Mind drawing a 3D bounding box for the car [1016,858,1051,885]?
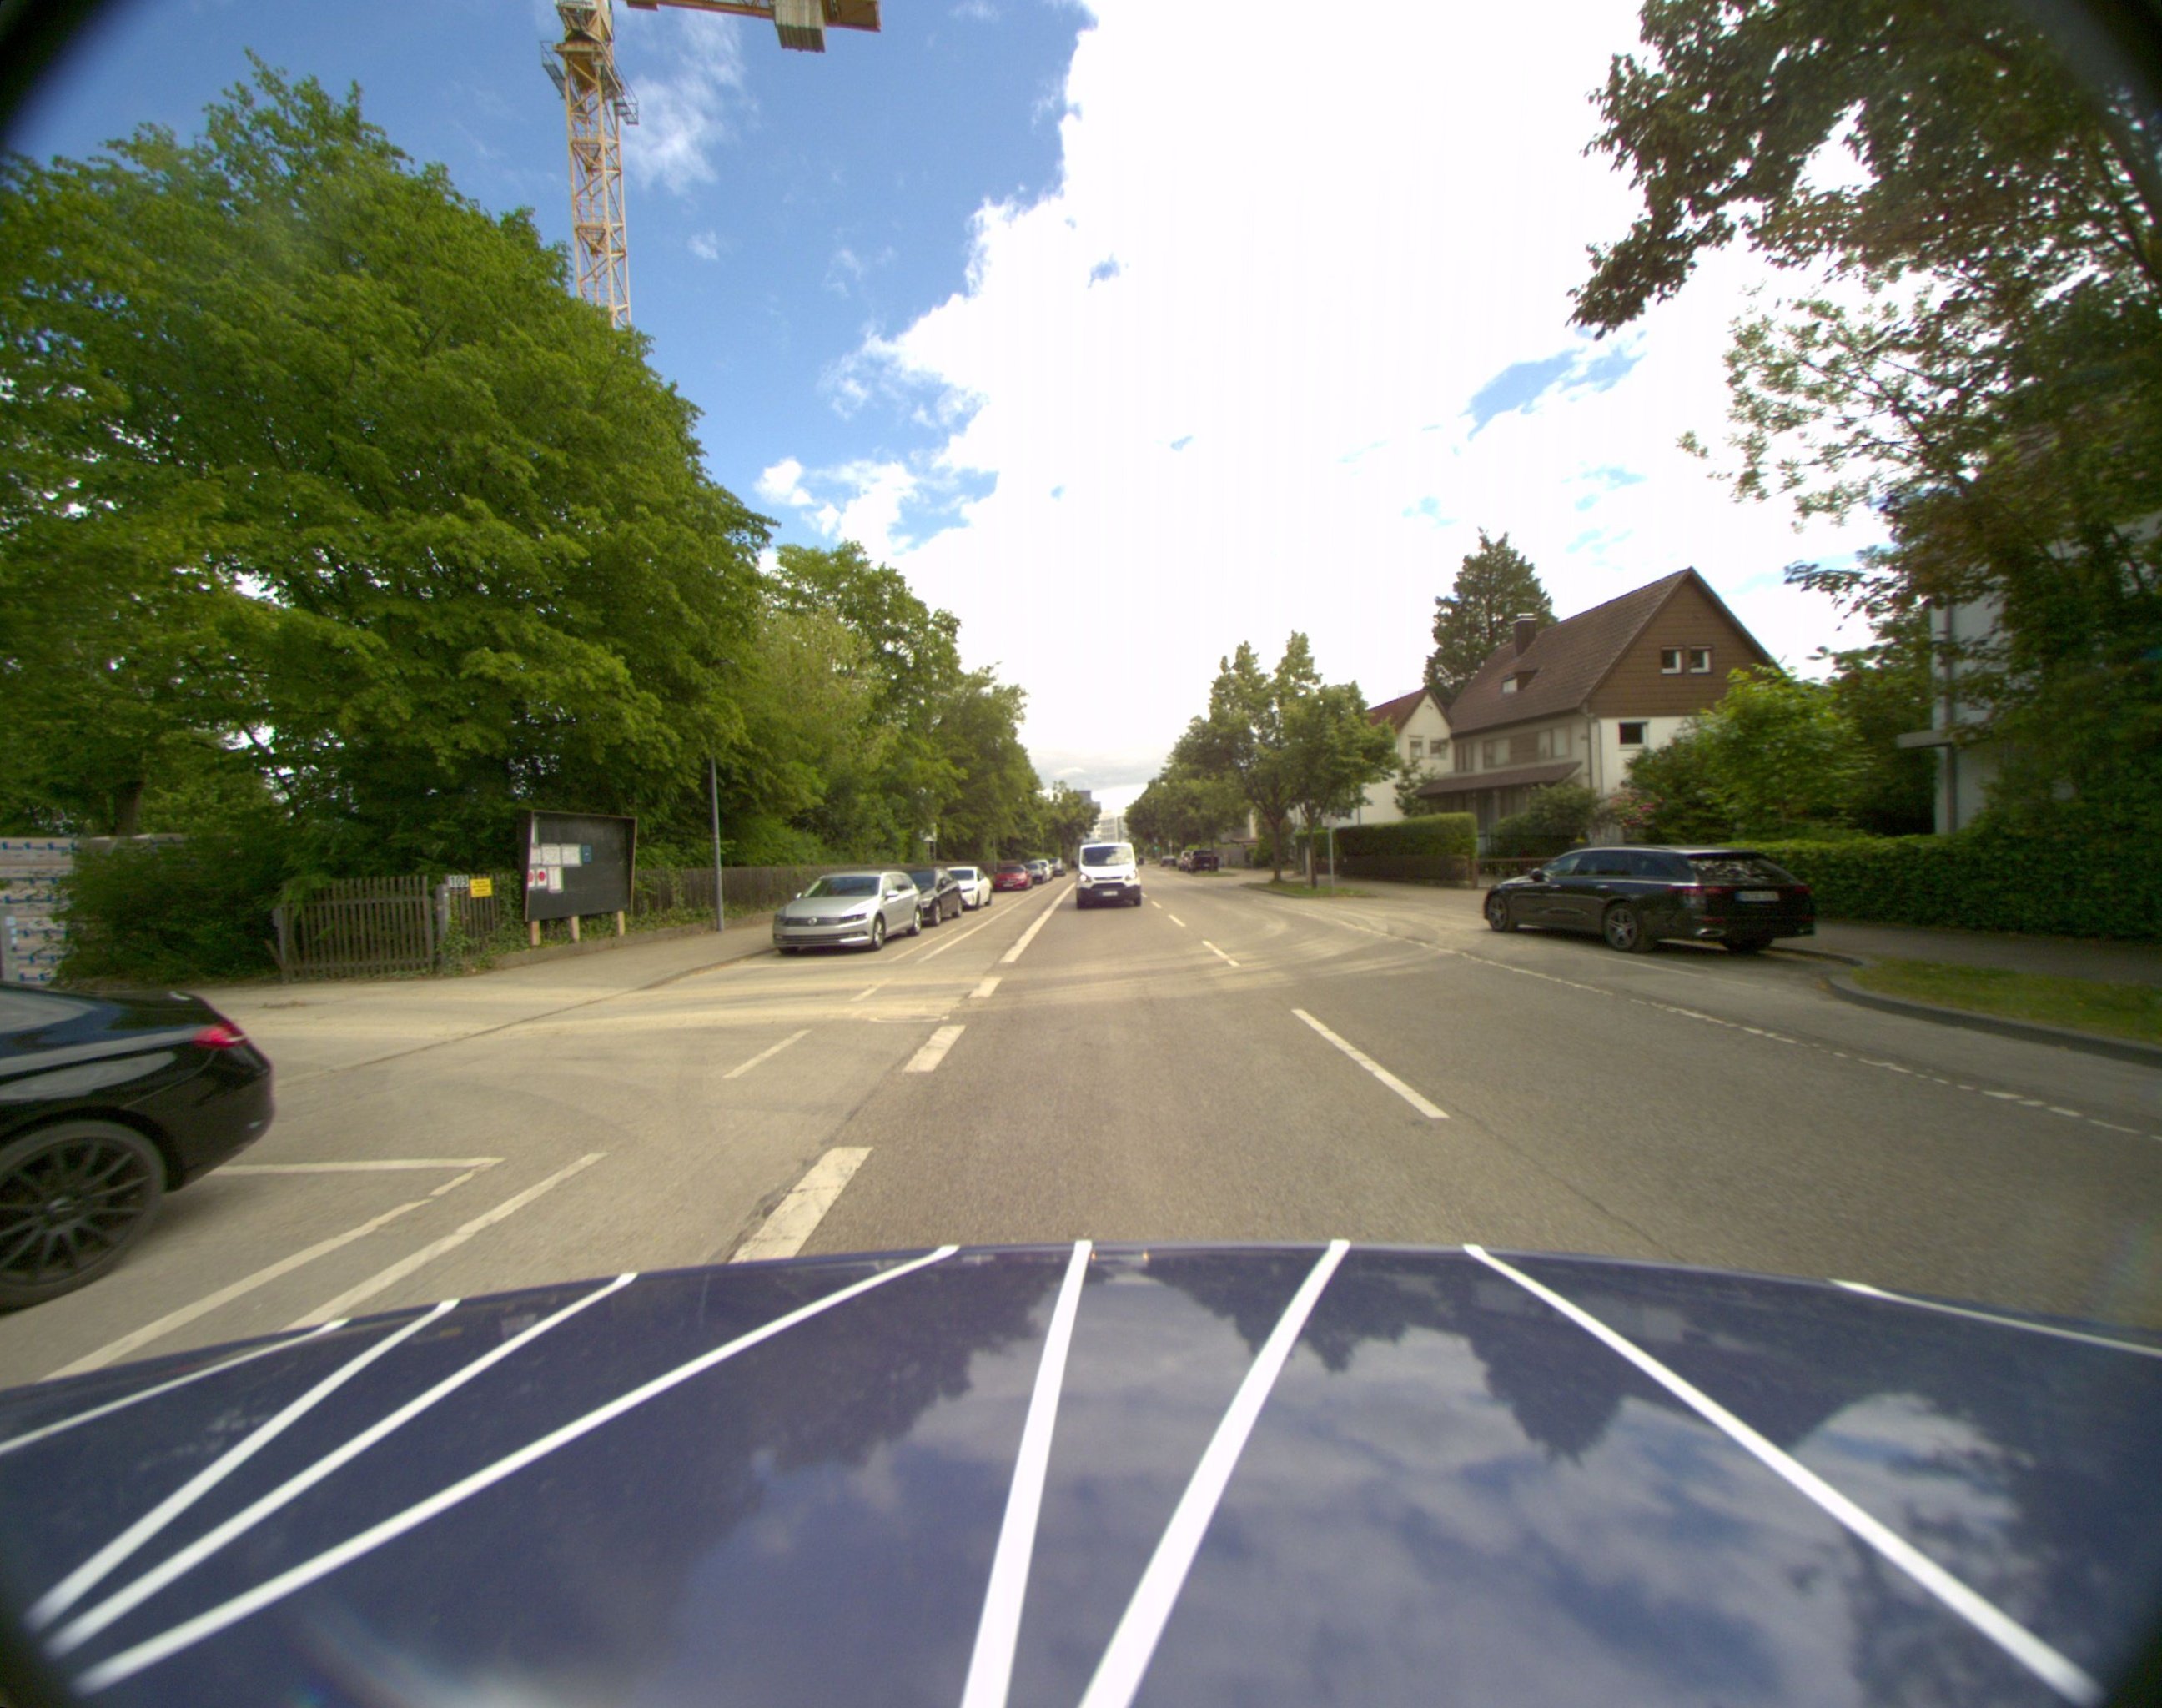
[{"bbox_3d":[-3.144,1.153,50.876,1.820,1.506,4.680,-4,1,2],"label":"car"}]

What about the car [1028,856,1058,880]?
[{"bbox_3d":[-2.807,1.023,57.034,1.867,1.580,4.421,-3,0,0],"label":"car"}]

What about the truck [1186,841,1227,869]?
[{"bbox_3d":[10.011,0.071,61.297,2.429,2.031,5.995,-2,0,2],"label":"truck"}]

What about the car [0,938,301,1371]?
[{"bbox_3d":[-4.803,1.138,1.376,1.868,1.408,4.603,-2,0,3],"label":"car"}]

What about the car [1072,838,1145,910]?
[{"bbox_3d":[0.923,0.560,24.876,1.998,2.002,5.189,-4,1,3],"label":"car"}]

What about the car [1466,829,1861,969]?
[{"bbox_3d":[8.305,0.550,11.674,2.100,1.637,5.037,-1,0,-2],"label":"car"}]

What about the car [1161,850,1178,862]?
[{"bbox_3d":[11.357,0.268,97.362,1.750,1.400,4.927,-1,0,2],"label":"car"}]

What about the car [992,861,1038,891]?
[{"bbox_3d":[-3.547,1.164,41.534,1.863,1.405,4.444,-4,0,3],"label":"car"}]

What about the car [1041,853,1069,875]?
[{"bbox_3d":[-2.302,0.879,68.775,1.998,1.805,4.827,-3,1,3],"label":"car"}]

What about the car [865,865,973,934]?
[{"bbox_3d":[-4.218,1.134,20.502,1.706,1.501,4.538,-3,0,2],"label":"car"}]

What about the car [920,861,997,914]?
[{"bbox_3d":[-4.093,1.080,26.081,1.772,1.501,4.031,-2,1,3],"label":"car"}]

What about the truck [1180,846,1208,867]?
[{"bbox_3d":[10.146,0.182,68.513,1.971,1.857,5.665,-1,1,3],"label":"truck"}]

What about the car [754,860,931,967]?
[{"bbox_3d":[-4.479,1.023,15.134,1.866,1.602,4.686,-3,1,1],"label":"car"}]
